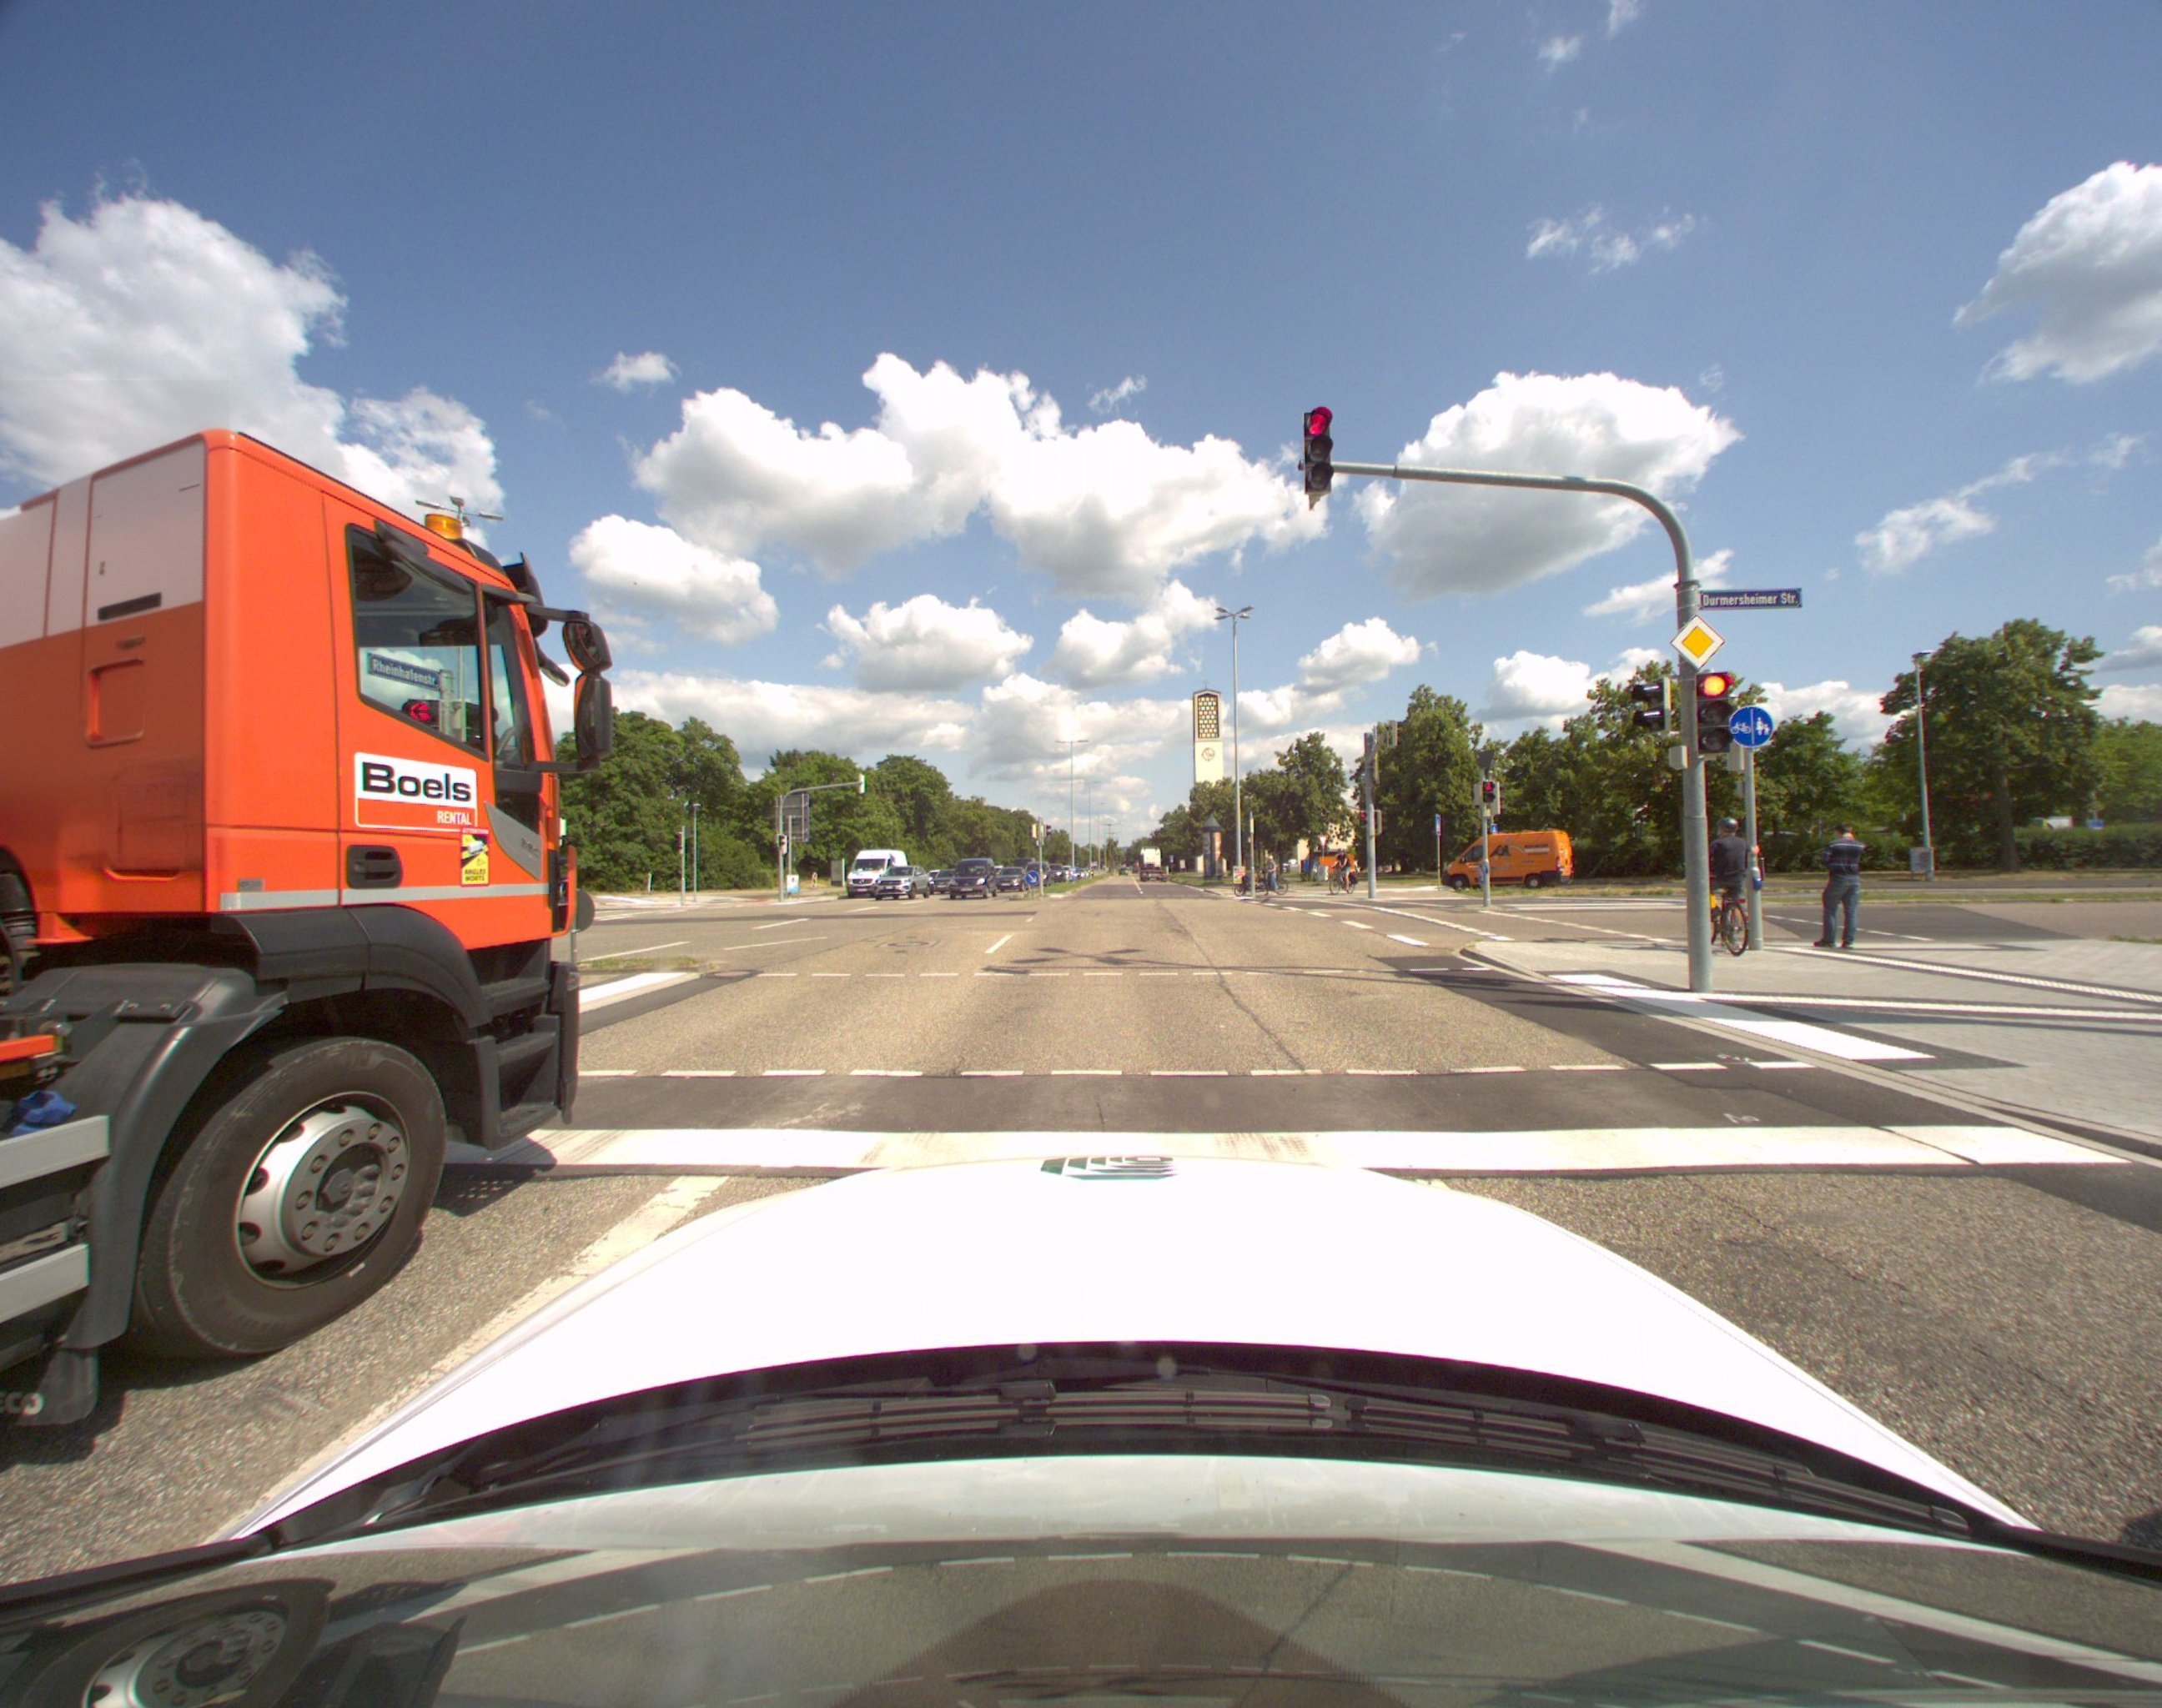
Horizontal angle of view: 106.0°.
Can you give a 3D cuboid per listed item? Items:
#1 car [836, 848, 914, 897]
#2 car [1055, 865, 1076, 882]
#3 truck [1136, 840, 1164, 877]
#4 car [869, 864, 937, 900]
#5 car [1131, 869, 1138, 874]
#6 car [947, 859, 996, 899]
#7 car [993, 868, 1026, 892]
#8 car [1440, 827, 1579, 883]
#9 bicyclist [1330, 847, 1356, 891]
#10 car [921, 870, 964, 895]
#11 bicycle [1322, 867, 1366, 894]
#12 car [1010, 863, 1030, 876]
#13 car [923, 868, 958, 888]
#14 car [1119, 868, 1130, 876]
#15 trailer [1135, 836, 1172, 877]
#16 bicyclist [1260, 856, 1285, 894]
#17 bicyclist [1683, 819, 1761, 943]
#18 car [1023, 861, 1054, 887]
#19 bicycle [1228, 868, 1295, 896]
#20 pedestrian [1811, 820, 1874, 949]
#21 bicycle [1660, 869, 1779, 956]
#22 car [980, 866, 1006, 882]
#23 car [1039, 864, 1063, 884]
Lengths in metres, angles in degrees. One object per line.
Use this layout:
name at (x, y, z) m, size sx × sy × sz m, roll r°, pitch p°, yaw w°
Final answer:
car at (-11.100, 1.015, 44.474) m, size 2.163 × 2.471 × 5.976 m, roll 1°, pitch -1°, yaw 6°
car at (-1.539, 1.956, 82.420) m, size 1.727 × 1.660 × 4.233 m, roll 1°, pitch -1°, yaw 3°
truck at (7.994, 0.614, 93.135) m, size 2.944 × 3.971 × 8.651 m, roll -1°, pitch -2°, yaw 6°
car at (-8.139, 1.266, 37.617) m, size 1.726 × 1.543 × 4.316 m, roll 1°, pitch -1°, yaw 6°
car at (16.359, 5.345, 250.645) m, size 1.986 × 1.552 × 4.001 m, roll 1°, pitch -1°, yaw 2°
car at (-4.753, 1.070, 35.868) m, size 1.730 × 1.660 × 4.226 m, roll 1°, pitch -1°, yaw -3°
car at (-4.069, 1.495, 46.890) m, size 1.563 × 1.316 × 3.431 m, roll 1°, pitch -1°, yaw 0°
car at (18.208, 0.071, 34.747) m, size 2.224 × 2.226 × 4.800 m, roll 2°, pitch -2°, yaw -45°
bicyclist at (10.922, 0.614, 33.913) m, size 0.793 × 1.804 × 0.678 m, roll 0°, pitch -1°, yaw -36°
car at (-7.862, 1.612, 46.421) m, size 1.757 × 1.352 × 3.520 m, roll -1°, pitch -1°, yaw 2°
bicycle at (10.983, 1.098, 33.944) m, size 2.012 × 1.093 × 0.678 m, roll 0°, pitch -1°, yaw -36°
car at (-6.009, 1.535, 80.524) m, size 1.542 × 1.217 × 3.491 m, roll 1°, pitch -1°, yaw 2°
car at (-9.952, 1.699, 58.001) m, size 1.757 × 1.352 × 3.520 m, roll -1°, pitch -1°, yaw 2°
car at (8.437, 3.516, 158.906) m, size 1.986 × 1.552 × 4.001 m, roll 1°, pitch -1°, yaw 2°
trailer at (7.679, 0.397, 85.141) m, size 3.602 × 4.012 × 11.336 m, roll -1°, pitch -2°, yaw 6°
bicyclist at (8.191, 0.894, 34.782) m, size 0.701 × 1.616 × 0.791 m, roll 0°, pitch -1°, yaw -22°
bicyclist at (8.865, 0.361, 11.286) m, size 0.643 × 1.661 × 0.653 m, roll 1°, pitch -1°, yaw 16°
car at (-2.858, 1.340, 55.829) m, size 1.728 × 1.660 × 4.233 m, roll 1°, pitch 0°, yaw 2°
bicycle at (7.676, 1.188, 34.572) m, size 2.844 × 1.112 × 0.791 m, roll 0°, pitch -1°, yaw -22°
pedestrian at (10.740, 0.425, 11.499) m, size 0.461 × 1.779 × 0.483 m, roll 1°, pitch -1°, yaw 11°
bicycle at (8.911, 0.777, 11.465) m, size 0.643 × 1.108 × 1.936 m, roll 1°, pitch -1°, yaw 16°
car at (-6.896, 1.548, 63.897) m, size 1.542 × 1.217 × 3.491 m, roll 1°, pitch -1°, yaw 2°
car at (-2.558, 1.725, 70.879) m, size 1.728 × 1.660 × 4.232 m, roll 1°, pitch -1°, yaw 2°
